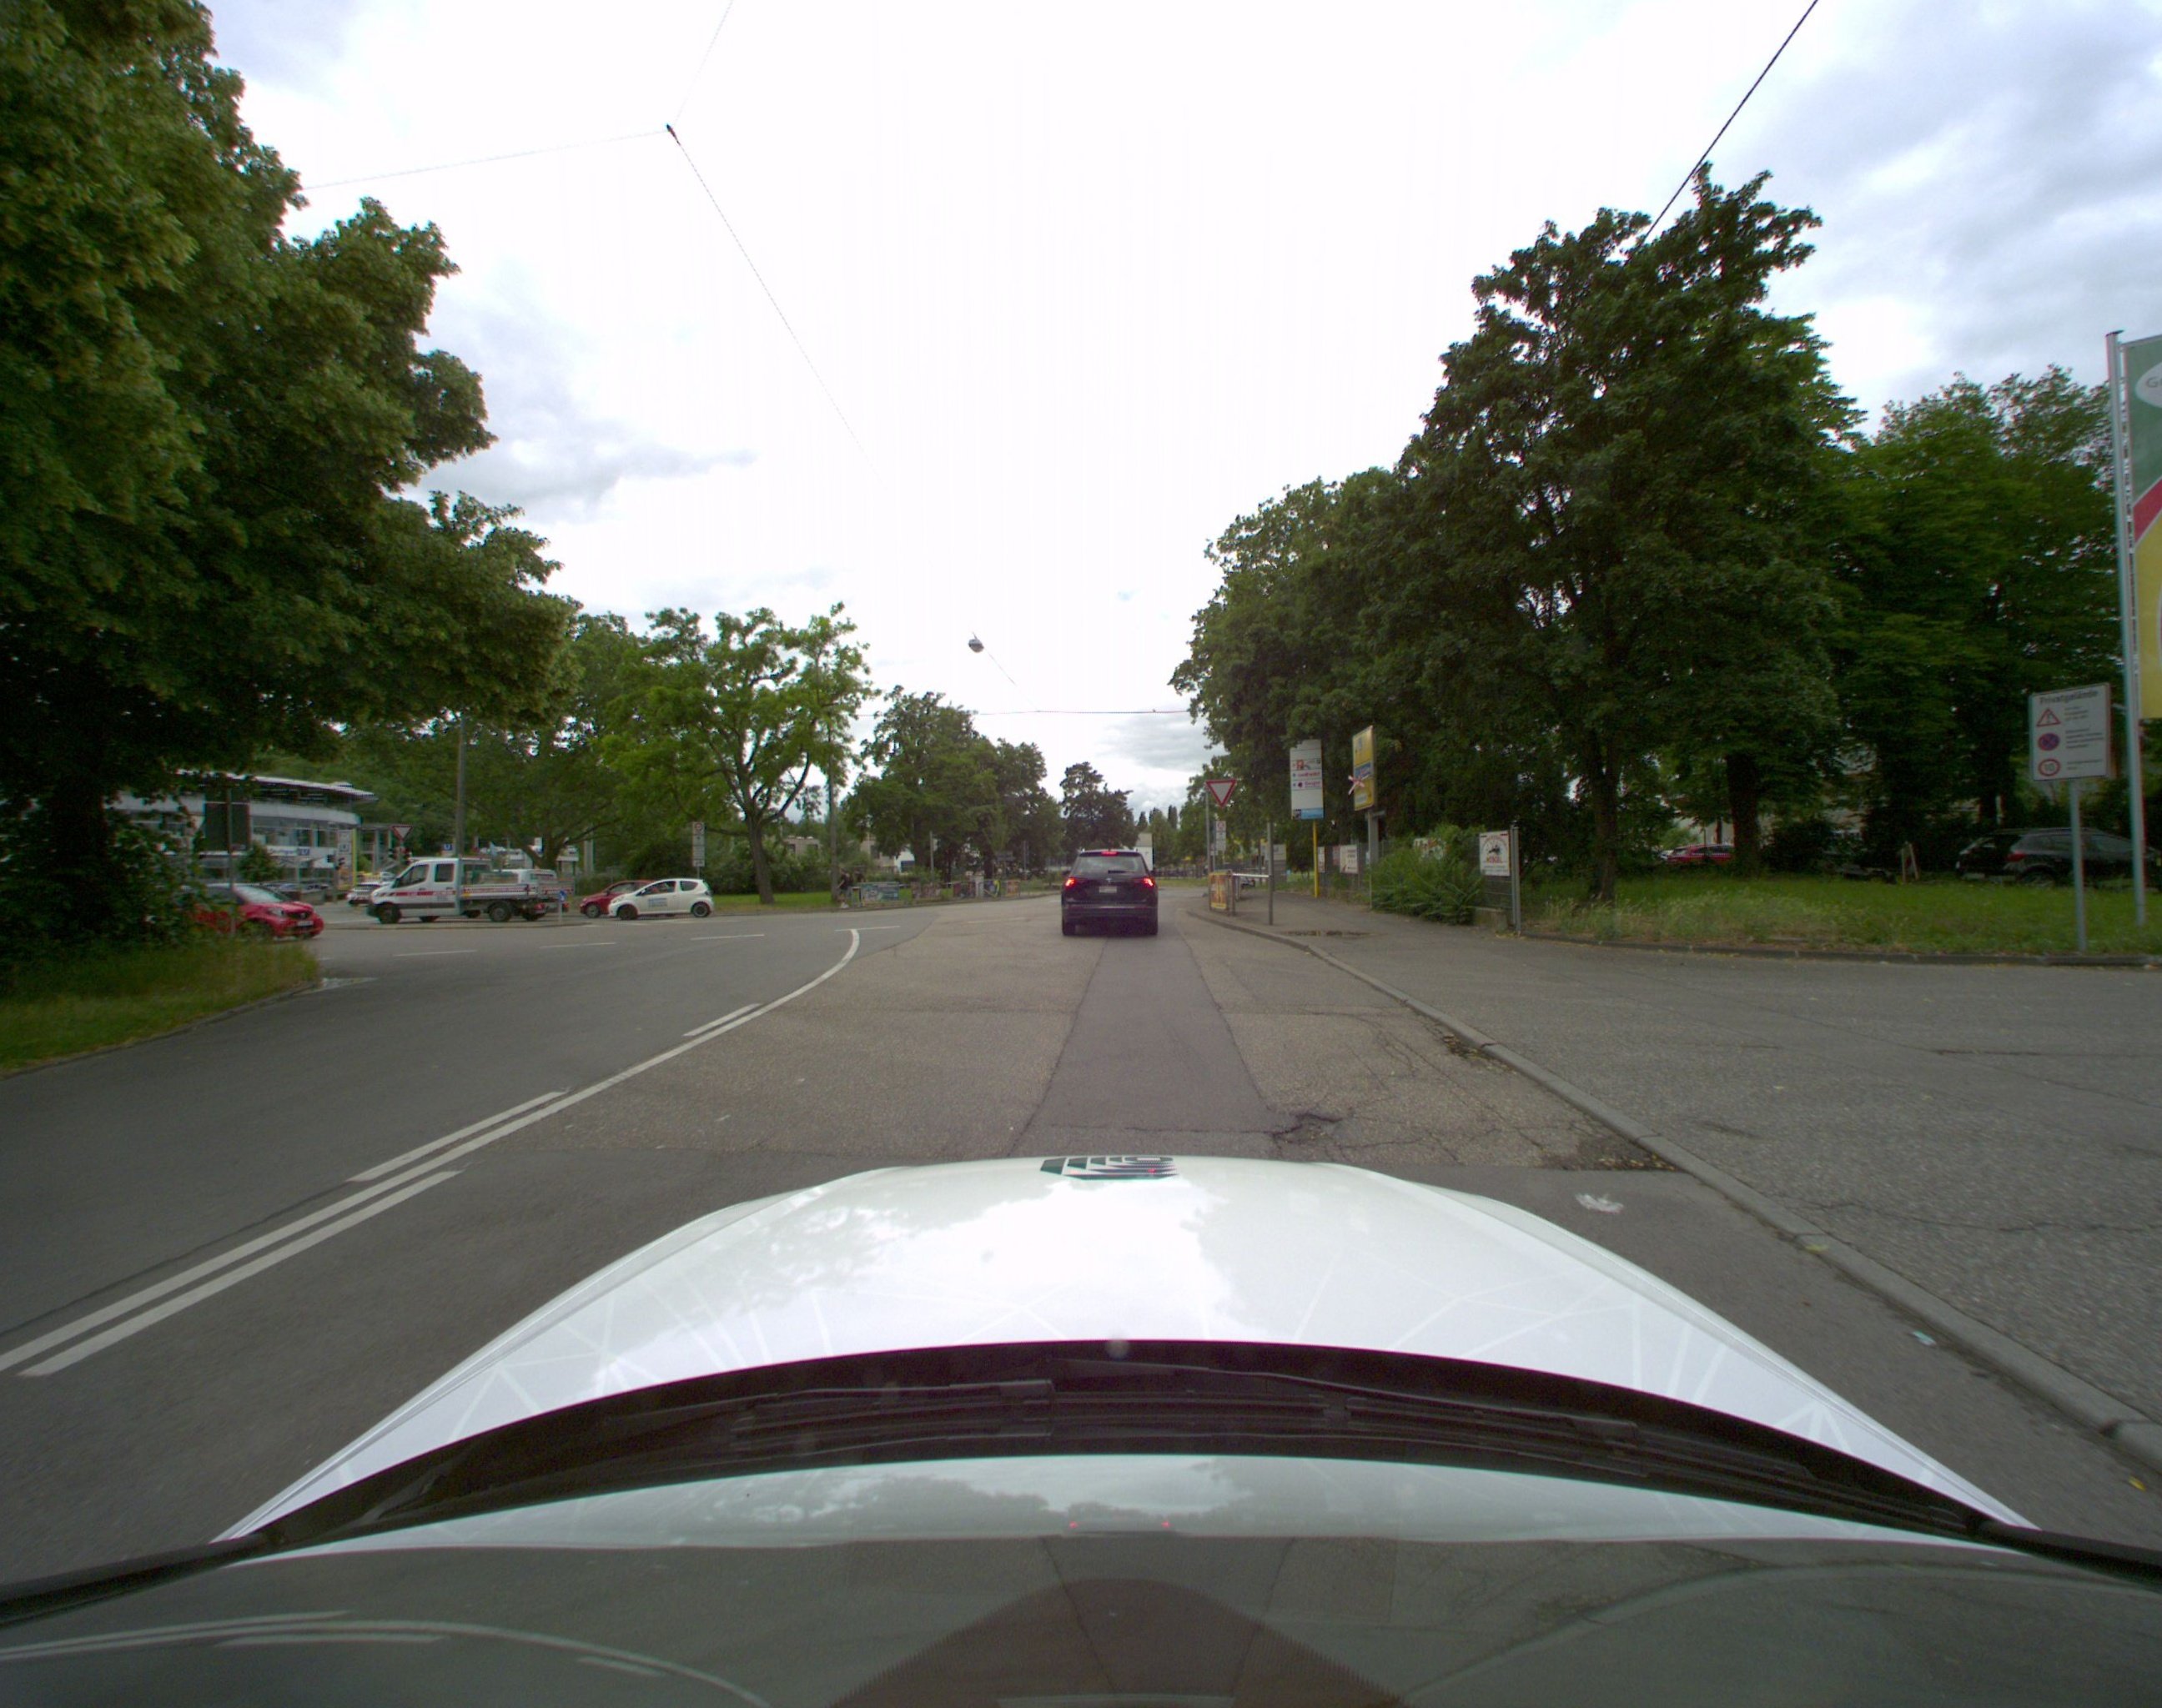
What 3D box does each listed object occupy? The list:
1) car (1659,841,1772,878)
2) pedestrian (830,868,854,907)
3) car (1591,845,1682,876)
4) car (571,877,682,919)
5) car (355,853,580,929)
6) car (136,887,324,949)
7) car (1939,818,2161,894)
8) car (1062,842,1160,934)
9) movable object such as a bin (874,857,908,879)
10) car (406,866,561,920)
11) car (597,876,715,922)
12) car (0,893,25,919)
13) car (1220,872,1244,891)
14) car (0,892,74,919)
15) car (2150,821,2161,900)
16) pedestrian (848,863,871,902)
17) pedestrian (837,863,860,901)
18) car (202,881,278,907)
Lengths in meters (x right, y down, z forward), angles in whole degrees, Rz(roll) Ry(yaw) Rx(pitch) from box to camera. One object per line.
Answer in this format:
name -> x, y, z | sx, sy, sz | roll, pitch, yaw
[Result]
car -> 30.925, 0.260, 39.794 | 3.922, 1.647, 1.835 | -2, -1, 10
pedestrian -> -10.842, 1.502, 36.882 | 0.731, 1.742, 0.734 | -1, -1, -45
car -> 31.888, 0.358, 46.855 | 3.922, 1.647, 1.835 | -2, -1, 10
car -> -17.961, 1.719, 32.289 | 3.387, 1.478, 1.638 | -2, 0, -4
car -> -21.702, 1.262, 29.063 | 6.054, 2.387, 2.393 | -2, -1, -2
car -> -21.557, 1.581, 20.771 | 2.880, 1.349, 1.552 | -2, -1, -20
car -> 23.373, 0.040, 19.243 | 3.922, 1.647, 1.835 | -2, -1, 10
car -> 0.562, 0.623, 16.278 | 1.733, 1.618, 3.641 | 0, -1, 1
movable object such as a bin -> -17.699, 1.303, 75.916 | 1.975, 2.014, 2.413 | -2, -1, 26
car -> -23.860, 1.550, 32.600 | 4.948, 1.942, 2.054 | -2, -1, 9
car -> -15.194, 1.584, 29.332 | 3.621, 1.409, 1.728 | -2, -1, -24
car -> -75.494, 3.627, 55.123 | 4.504, 1.692, 1.986 | -2, -1, -21
car -> 14.144, 2.534, 76.122 | 1.646, 1.574, 3.845 | -3, -1, 17
car -> -75.166, 3.651, 57.601 | 4.504, 1.692, 1.986 | -2, -1, -21
car -> 22.584, 0.061, 14.607 | 3.922, 1.534, 1.835 | -2, 0, 10
pedestrian -> -10.260, 1.310, 37.700 | 0.731, 1.742, 0.734 | -1, -1, -45
pedestrian -> -10.880, 1.325, 38.174 | 0.731, 1.742, 0.734 | -1, -1, -45
car -> -79.240, 3.726, 76.785 | 4.504, 2.218, 1.986 | -2, -1, -21
